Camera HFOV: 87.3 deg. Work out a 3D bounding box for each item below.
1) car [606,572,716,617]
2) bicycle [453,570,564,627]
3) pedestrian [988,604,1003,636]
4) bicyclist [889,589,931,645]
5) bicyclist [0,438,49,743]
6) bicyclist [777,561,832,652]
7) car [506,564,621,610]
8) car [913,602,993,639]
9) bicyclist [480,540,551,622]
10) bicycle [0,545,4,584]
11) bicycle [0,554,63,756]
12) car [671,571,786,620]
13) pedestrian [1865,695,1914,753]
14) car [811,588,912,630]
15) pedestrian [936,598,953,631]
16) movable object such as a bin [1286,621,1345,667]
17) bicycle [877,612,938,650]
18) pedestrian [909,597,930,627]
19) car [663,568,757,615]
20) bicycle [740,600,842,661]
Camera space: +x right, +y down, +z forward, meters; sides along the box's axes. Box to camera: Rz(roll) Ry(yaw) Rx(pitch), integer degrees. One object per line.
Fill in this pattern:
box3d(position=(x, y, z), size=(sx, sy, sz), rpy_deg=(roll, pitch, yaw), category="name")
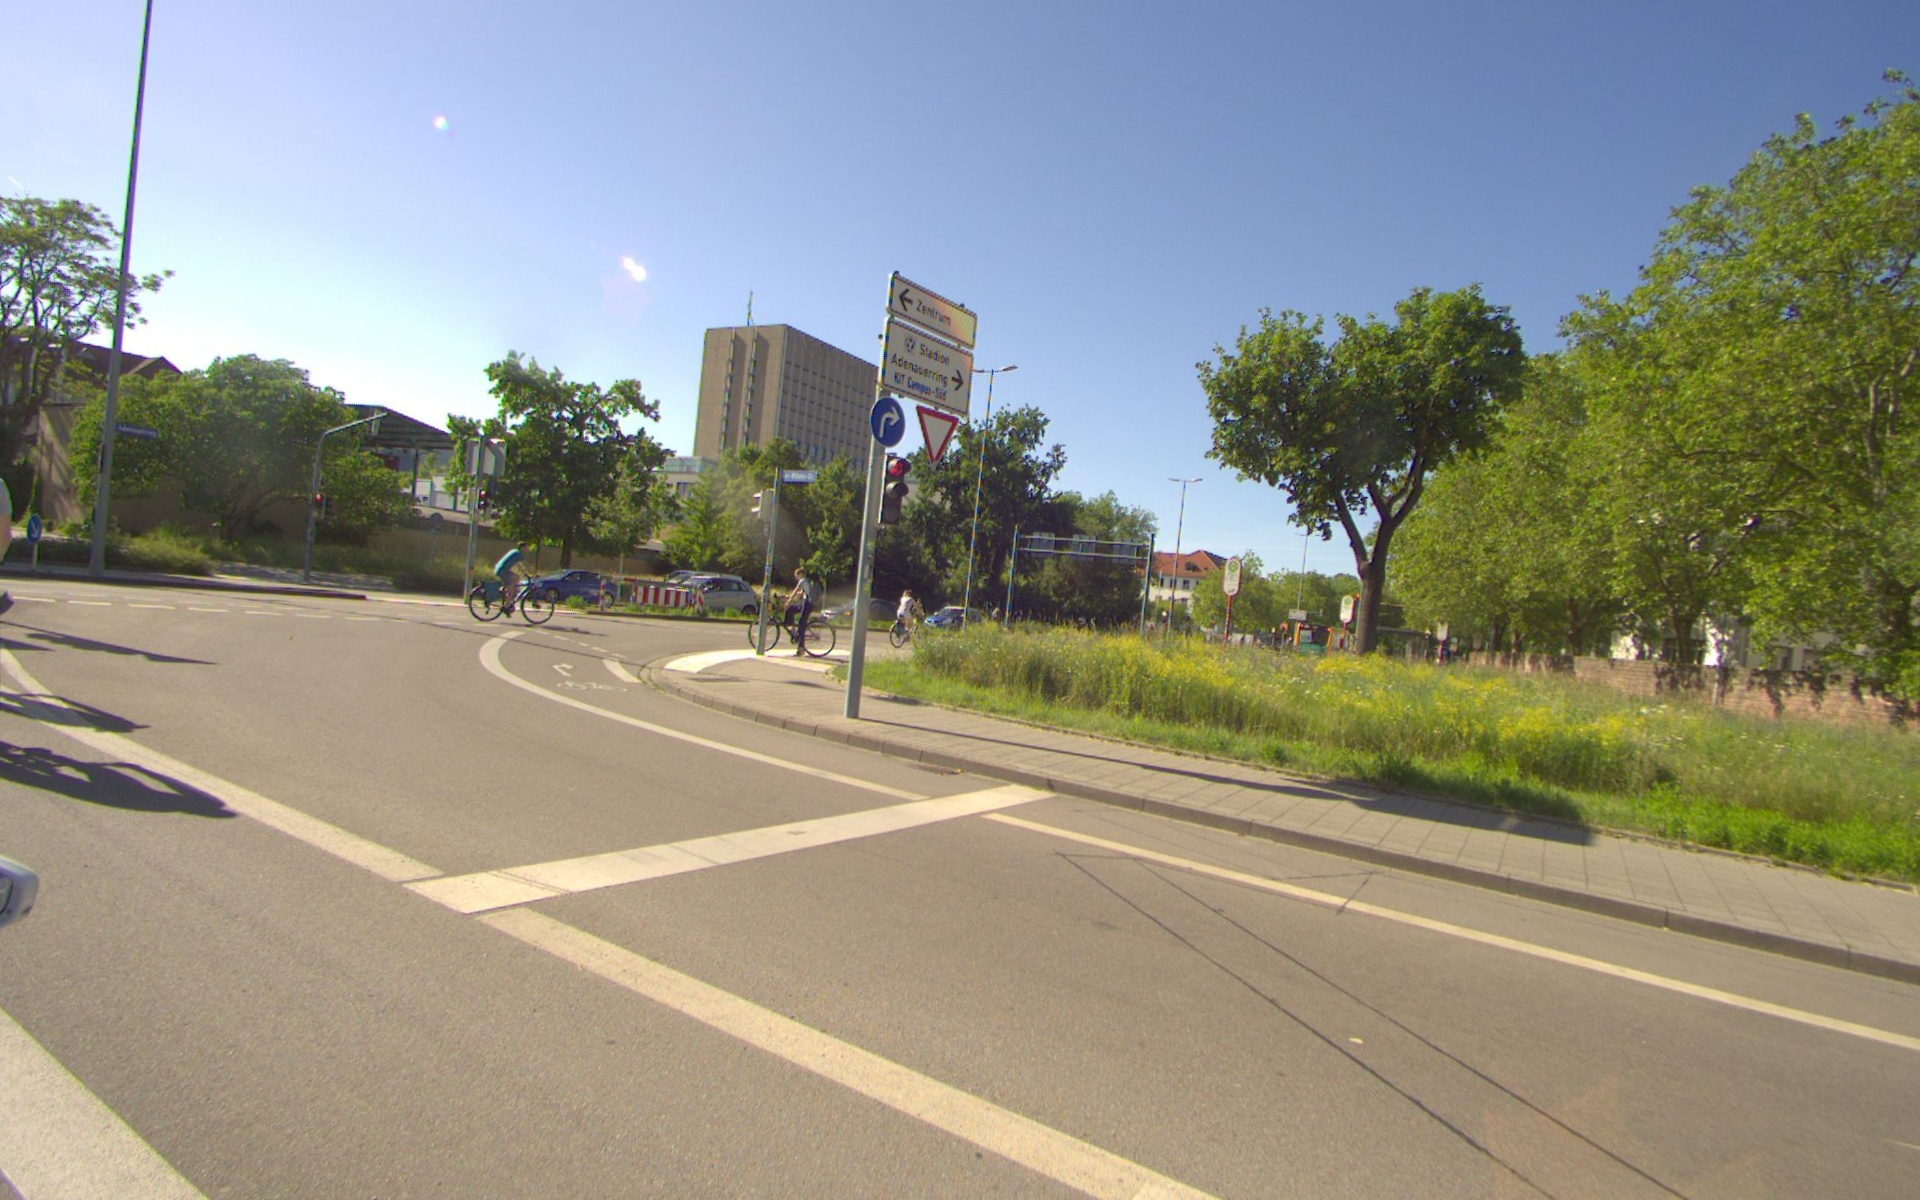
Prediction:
box3d(position=(-12.306, -0.202, 41.563), size=(1.767, 1.415, 3.986), rpy_deg=(7, 0, 37), category="car")
box3d(position=(-9.063, -0.024, 20.250), size=(0.640, 0.986, 1.895), rpy_deg=(7, 1, 39), category="bicycle")
box3d(position=(2.791, 1.567, 79.467), size=(0.710, 2.451, 0.585), rpy_deg=(6, -1, 34), category="pedestrian")
box3d(position=(-1.447, 0.502, 29.401), size=(0.509, 1.548, 1.067), rpy_deg=(7, 2, 39), category="bicyclist")
box3d(position=(-6.290, -0.115, 6.120), size=(1.123, 1.813, 0.684), rpy_deg=(7, 0, 32), category="bicyclist")
box3d(position=(-3.042, 0.123, 19.698), size=(0.898, 1.667, 0.630), rpy_deg=(6, 1, -9), category="bicyclist")
box3d(position=(-16.217, -0.528, 41.310), size=(1.767, 1.415, 3.986), rpy_deg=(7, 0, 37), category="car")
box3d(position=(-0.301, 1.048, 50.450), size=(1.916, 1.415, 3.986), rpy_deg=(6, 0, 37), category="car")
box3d(position=(-8.968, -0.369, 20.318), size=(0.632, 1.533, 1.049), rpy_deg=(7, 2, 39), category="bicyclist")
box3d(position=(-8.205, 0.022, 7.749), size=(1.890, 1.102, 0.690), rpy_deg=(6, -1, 32), category="bicycle")
box3d(position=(-6.271, 0.239, 6.076), size=(1.890, 1.102, 0.690), rpy_deg=(6, -1, 32), category="bicycle")
box3d(position=(-8.746, -0.132, 38.282), size=(1.767, 1.415, 3.986), rpy_deg=(7, 0, 37), category="car")
box3d(position=(25.556, 3.401, 27.676), size=(0.712, 1.460, 0.523), rpy_deg=(7, -1, 2), category="pedestrian")
box3d(position=(-4.315, 0.433, 44.623), size=(1.767, 1.415, 4.557), rpy_deg=(7, 0, 37), category="car")
box3d(position=(-1.182, 1.100, 76.090), size=(0.660, 2.451, 0.770), rpy_deg=(6, -1, 34), category="pedestrian")
box3d(position=(26.557, 3.349, 74.807), size=(2.954, 2.898, 9.180), rpy_deg=(6, 0, 26), category="movable object such as a bin")
box3d(position=(-1.511, 0.918, 29.380), size=(0.514, 1.000, 1.965), rpy_deg=(7, 1, 39), category="bicycle")
box3d(position=(-2.936, 0.873, 72.745), size=(0.752, 2.039, 1.267), rpy_deg=(7, 1, 36), category="pedestrian")
box3d(position=(-11.849, -0.369, 47.788), size=(1.767, 1.771, 3.986), rpy_deg=(7, 0, 37), category="car")
box3d(position=(-3.296, 0.590, 19.670), size=(1.856, 0.970, 0.635), rpy_deg=(7, 1, -10), category="bicycle")
